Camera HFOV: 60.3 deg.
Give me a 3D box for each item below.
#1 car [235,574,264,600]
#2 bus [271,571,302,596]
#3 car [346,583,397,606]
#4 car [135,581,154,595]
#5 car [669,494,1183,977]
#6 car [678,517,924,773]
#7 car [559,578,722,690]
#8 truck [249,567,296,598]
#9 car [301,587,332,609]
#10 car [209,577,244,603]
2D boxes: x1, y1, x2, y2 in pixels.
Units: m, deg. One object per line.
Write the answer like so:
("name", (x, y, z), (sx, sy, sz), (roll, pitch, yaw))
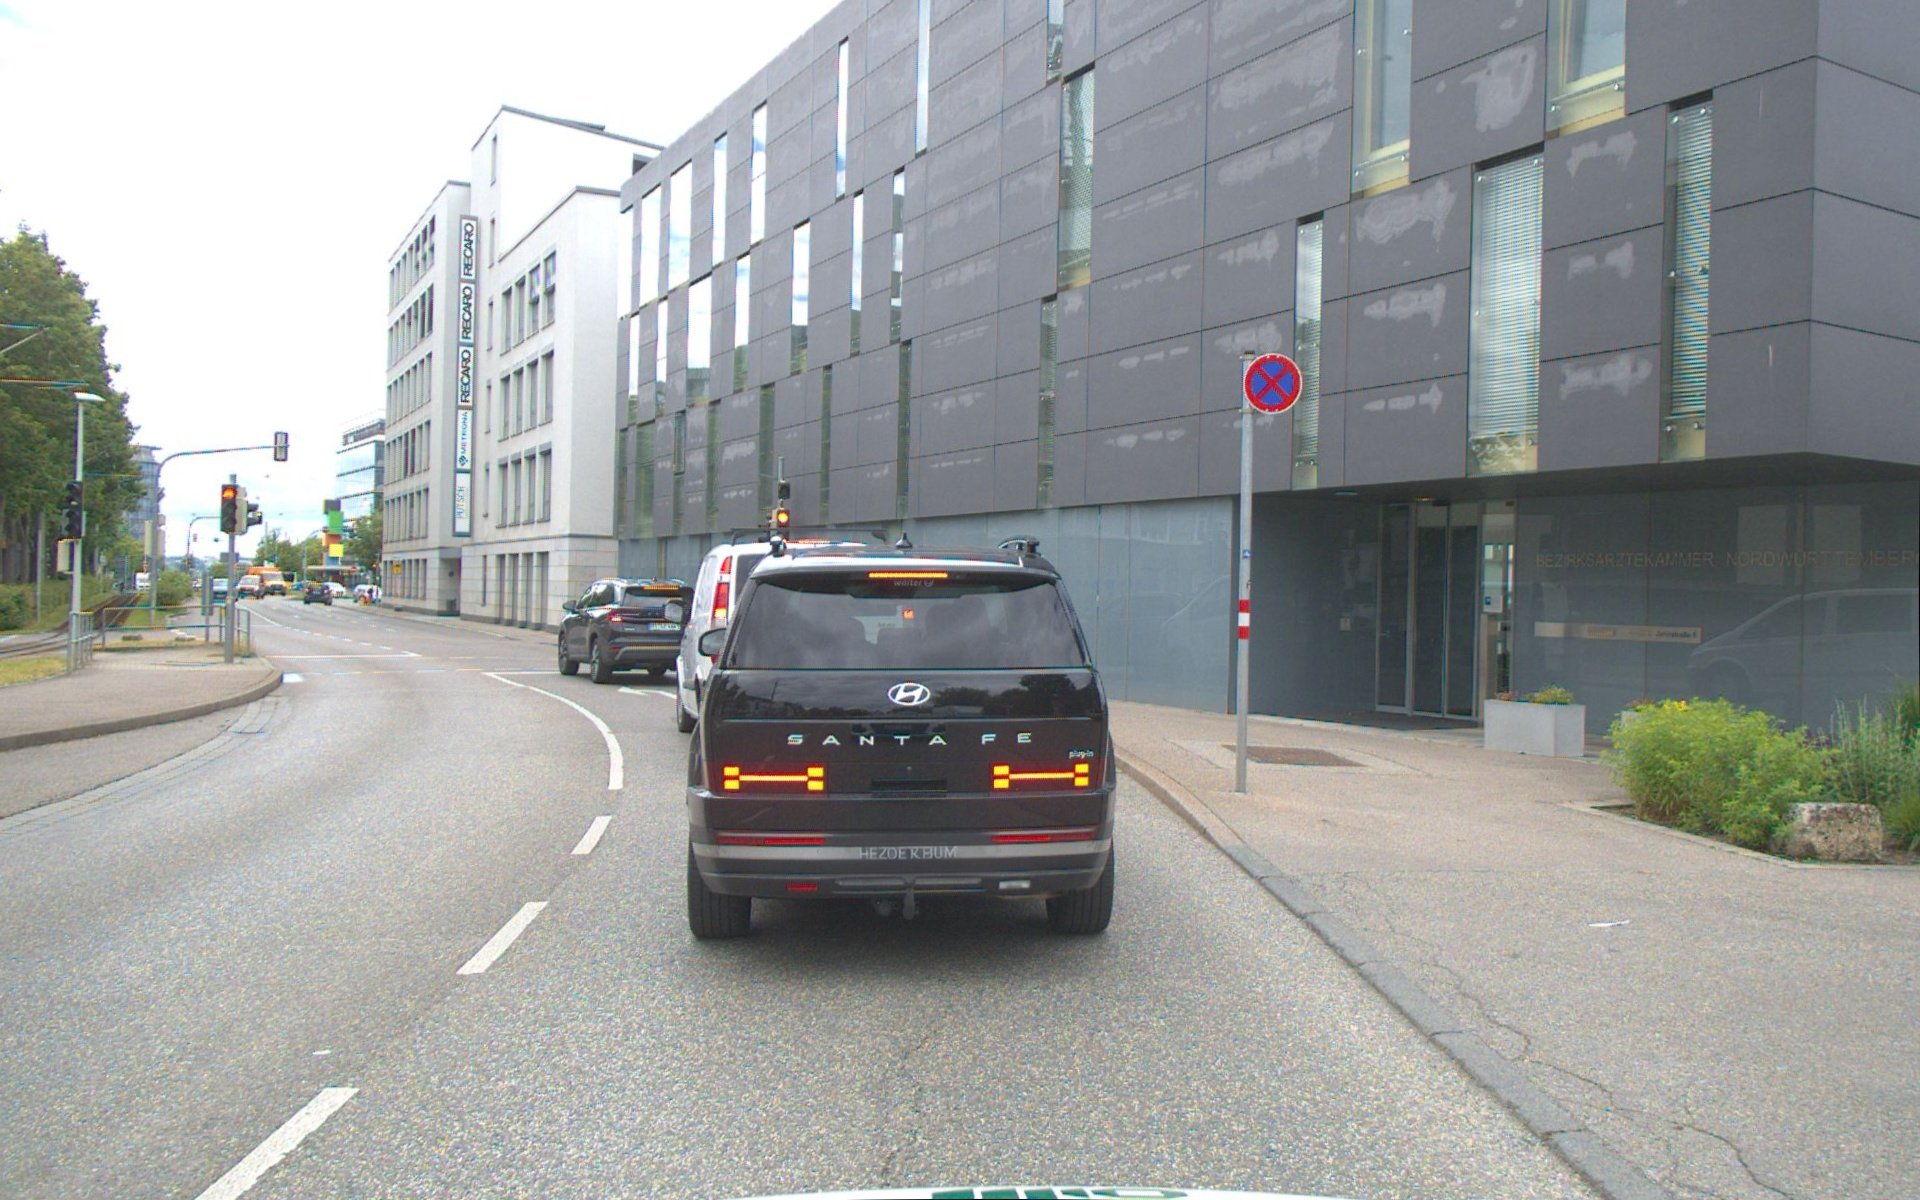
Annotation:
("car", (-55.325, -1.016, 128.910), (1.824, 1.956, 3.976), (1, 0, -20))
("bus", (-90.509, -2.267, 222.124), (3.045, 2.979, 10.257), (3, 0, -26))
("car", (-48.428, -0.478, 136.151), (3.912, 1.790, 1.854), (1, 0, 30))
("car", (-110.811, -1.615, 224.678), (1.897, 1.755, 4.125), (3, 0, -32))
("car", (-0.254, 0.512, 8.361), (1.877, 1.755, 4.167), (3, 0, -4))
("car", (-1.663, 0.349, 15.759), (1.823, 2.069, 4.424), (1, 0, -12))
("car", (-5.412, 0.516, 27.595), (1.823, 1.706, 4.344), (0, 0, -23))
("truck", (-66.590, -1.737, 160.121), (2.554, 2.874, 6.898), (1, 0, -37))
("car", (-46.387, -0.164, 119.283), (1.870, 1.512, 3.979), (1, 0, -19))
("car", (-49.957, -0.699, 112.661), (1.824, 1.725, 3.978), (1, 0, -19))
